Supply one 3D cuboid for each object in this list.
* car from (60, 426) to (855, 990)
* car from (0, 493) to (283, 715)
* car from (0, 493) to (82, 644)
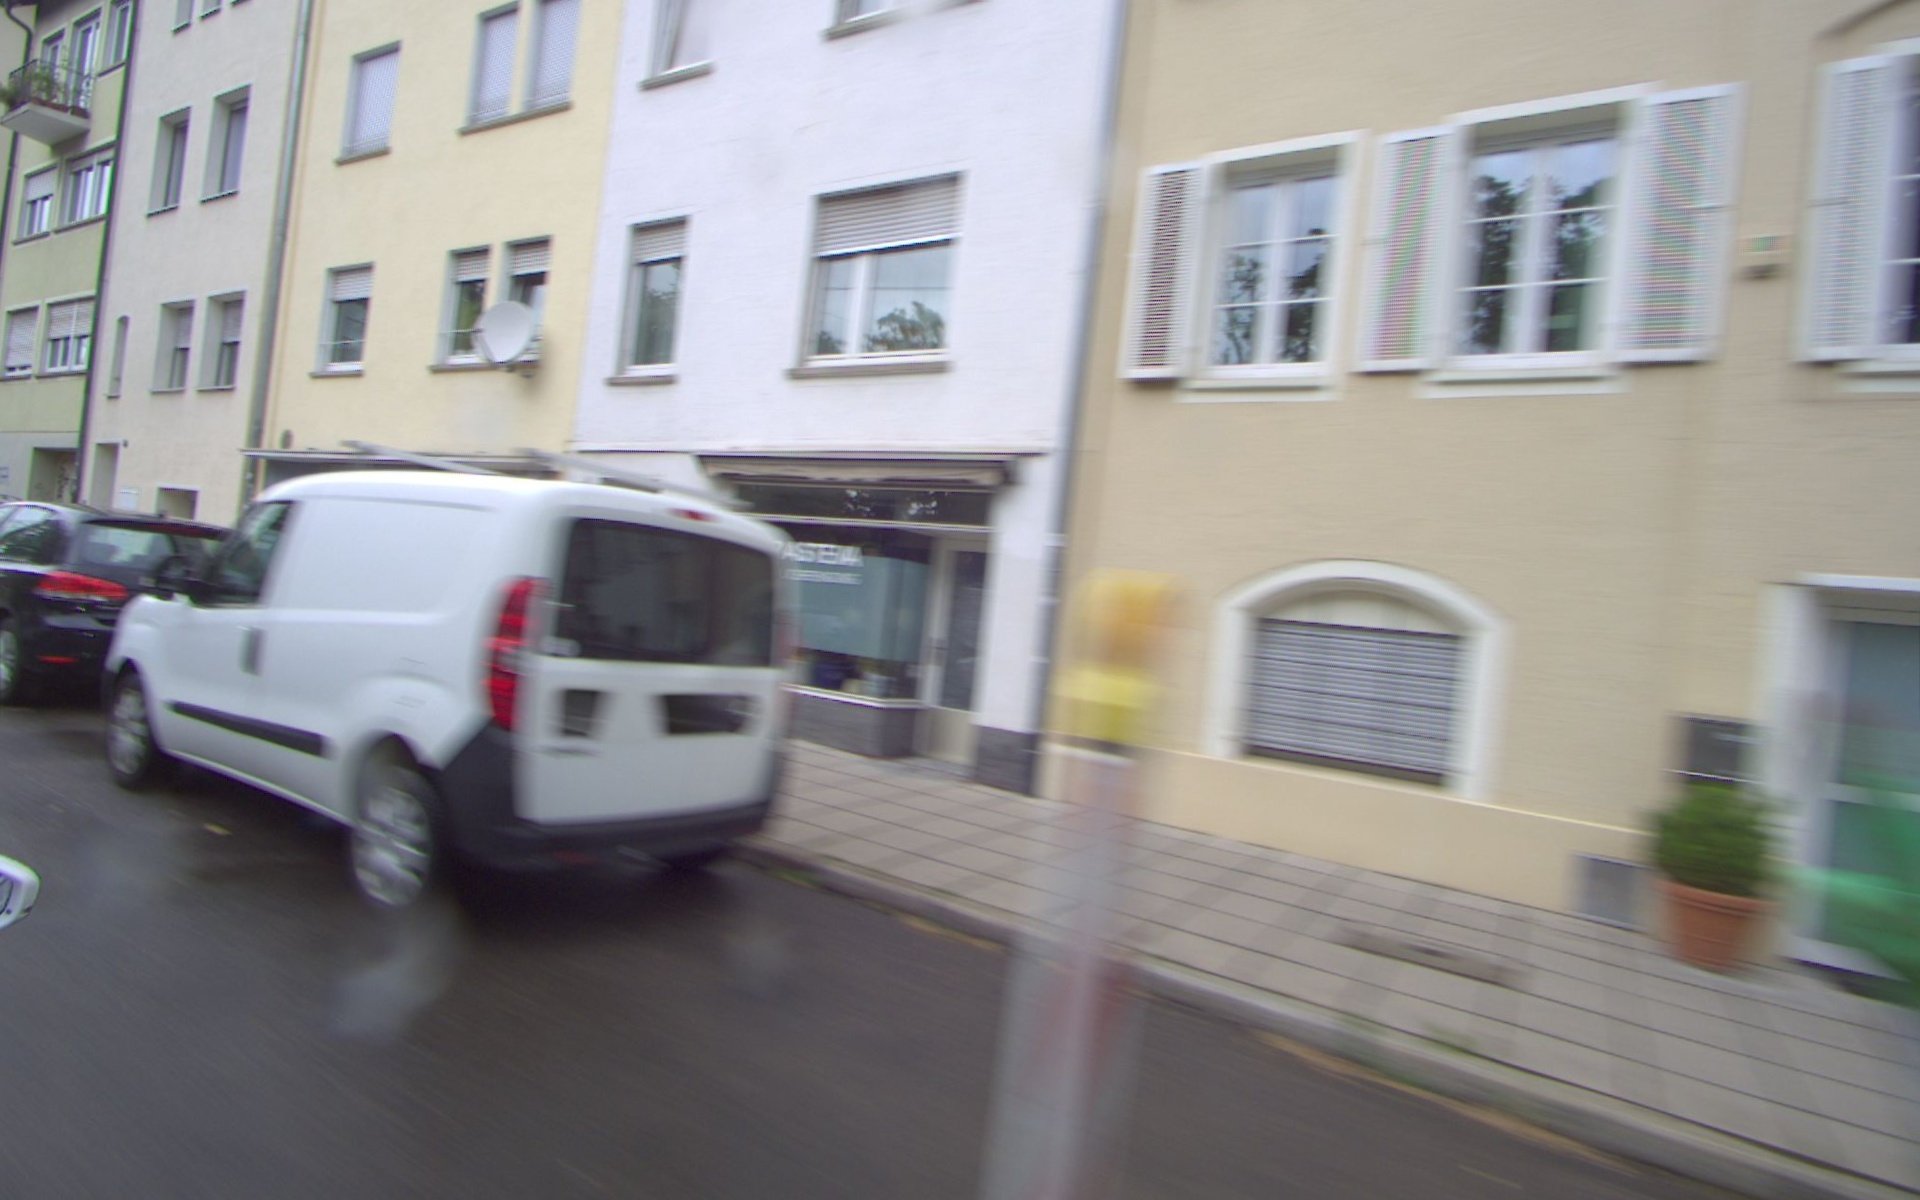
[{"bbox_3d":[-2.863,0.269,5.427,4.170,1.947,1.820,7,-1,33],"label":"car"},{"bbox_3d":[-7.488,-0.063,8.456,3.443,1.488,1.580,7,-1,31],"label":"car"},{"bbox_3d":[-11.721,-0.570,11.241,4.030,1.517,1.666,7,-1,32],"label":"car"}]
